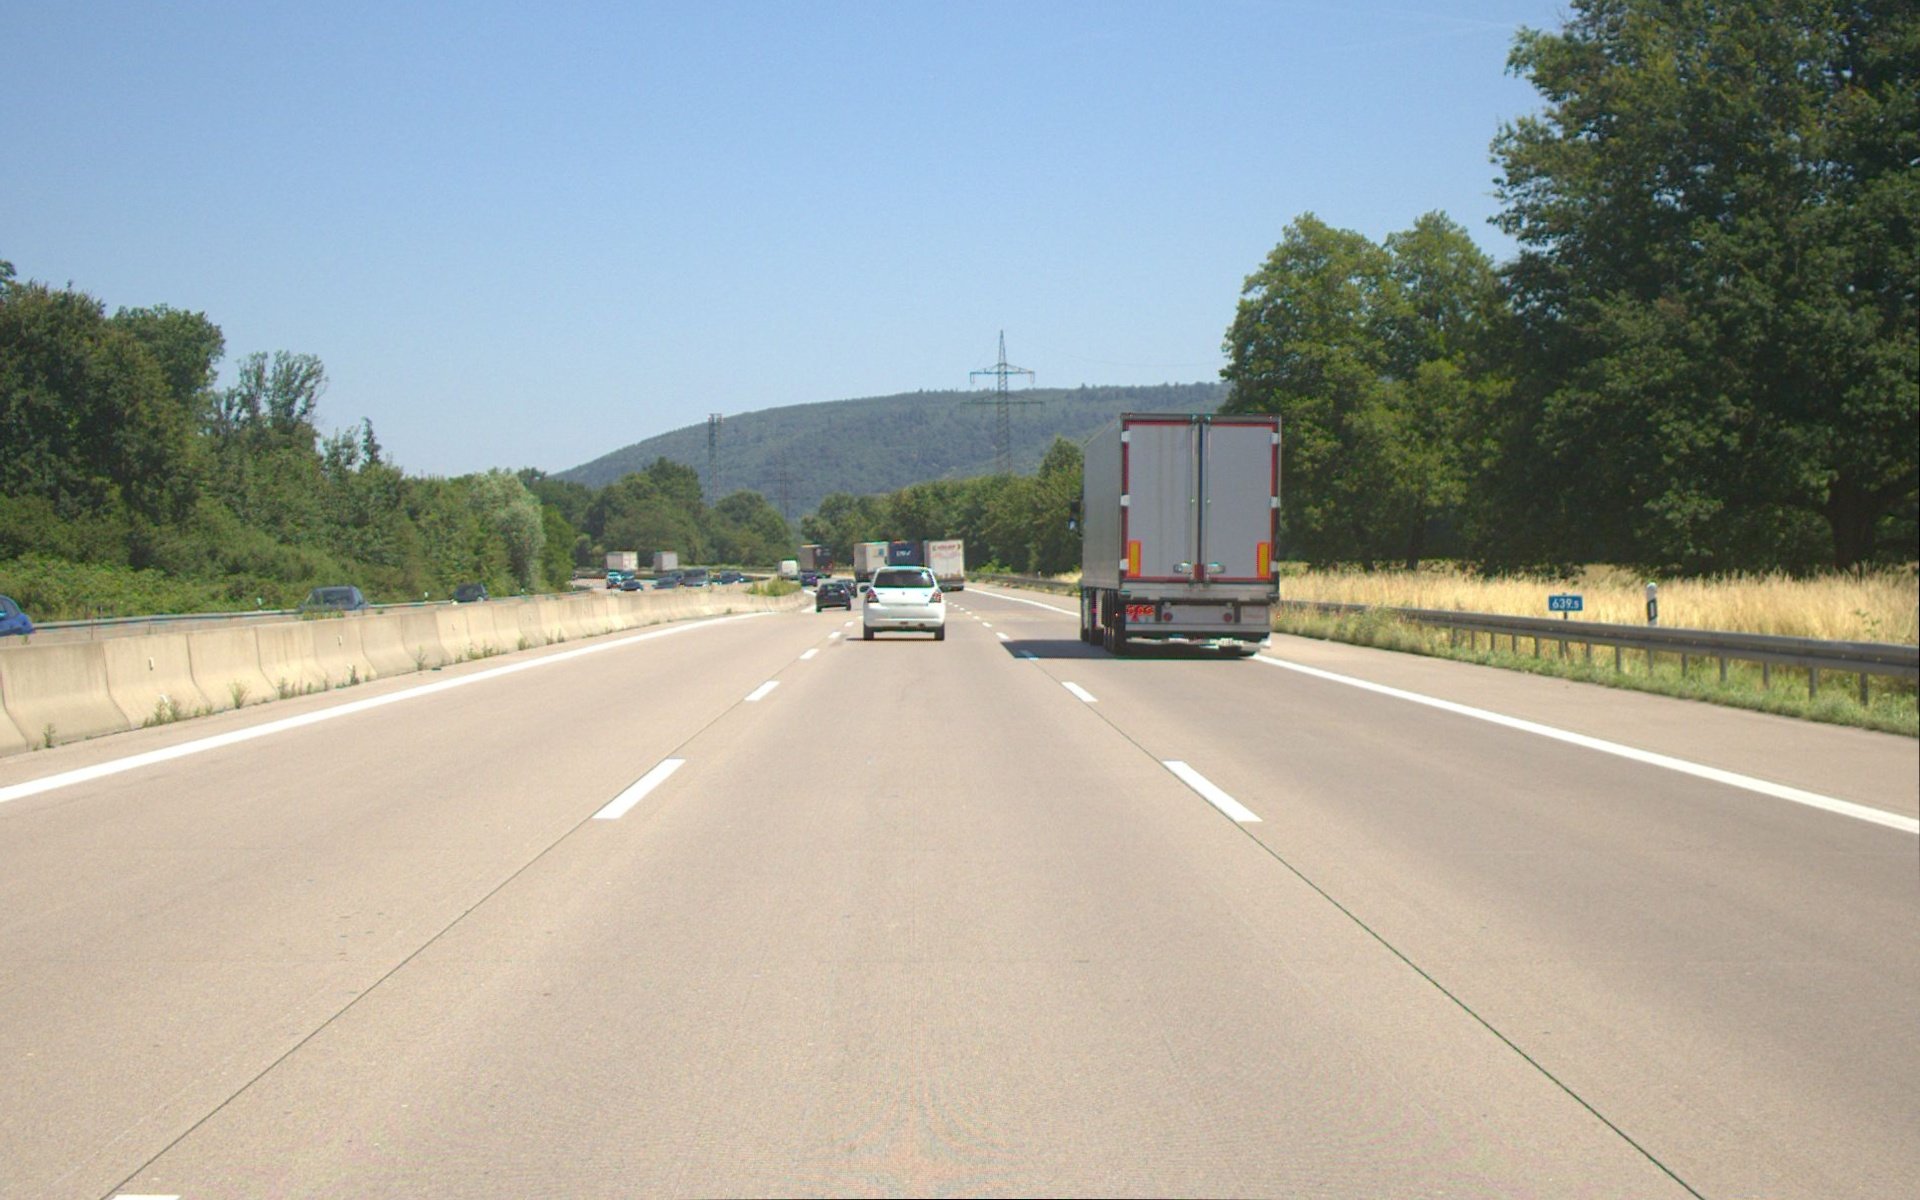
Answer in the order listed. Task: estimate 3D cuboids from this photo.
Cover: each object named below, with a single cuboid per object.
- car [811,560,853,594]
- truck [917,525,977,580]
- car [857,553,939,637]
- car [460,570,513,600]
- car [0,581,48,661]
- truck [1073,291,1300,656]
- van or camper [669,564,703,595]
[{"bbox_3d":[-6.648,-1.207,177.859,2.022,1.695,4.001,1,1,-3],"label":"car"},{"bbox_3d":[-1.079,-3.645,266.023,3.820,3.876,14.154,-4,1,-2],"label":"truck"},{"bbox_3d":[-1.279,-0.123,71.294,1.641,1.656,3.360,1,1,-1],"label":"car"},{"bbox_3d":[-22.567,-0.705,163.857,1.928,1.371,4.000,-1,1,0],"label":"car"},{"bbox_3d":[-17.732,0.363,61.620,1.709,1.380,4.509,0,1,-2],"label":"car"},{"bbox_3d":[3.922,-2.165,63.707,3.577,5.767,18.246,0,1,2],"label":"truck"},{"bbox_3d":[-17.256,-1.287,216.487,1.847,1.875,4.417,-1,0,-1],"label":"van or camper"}]
